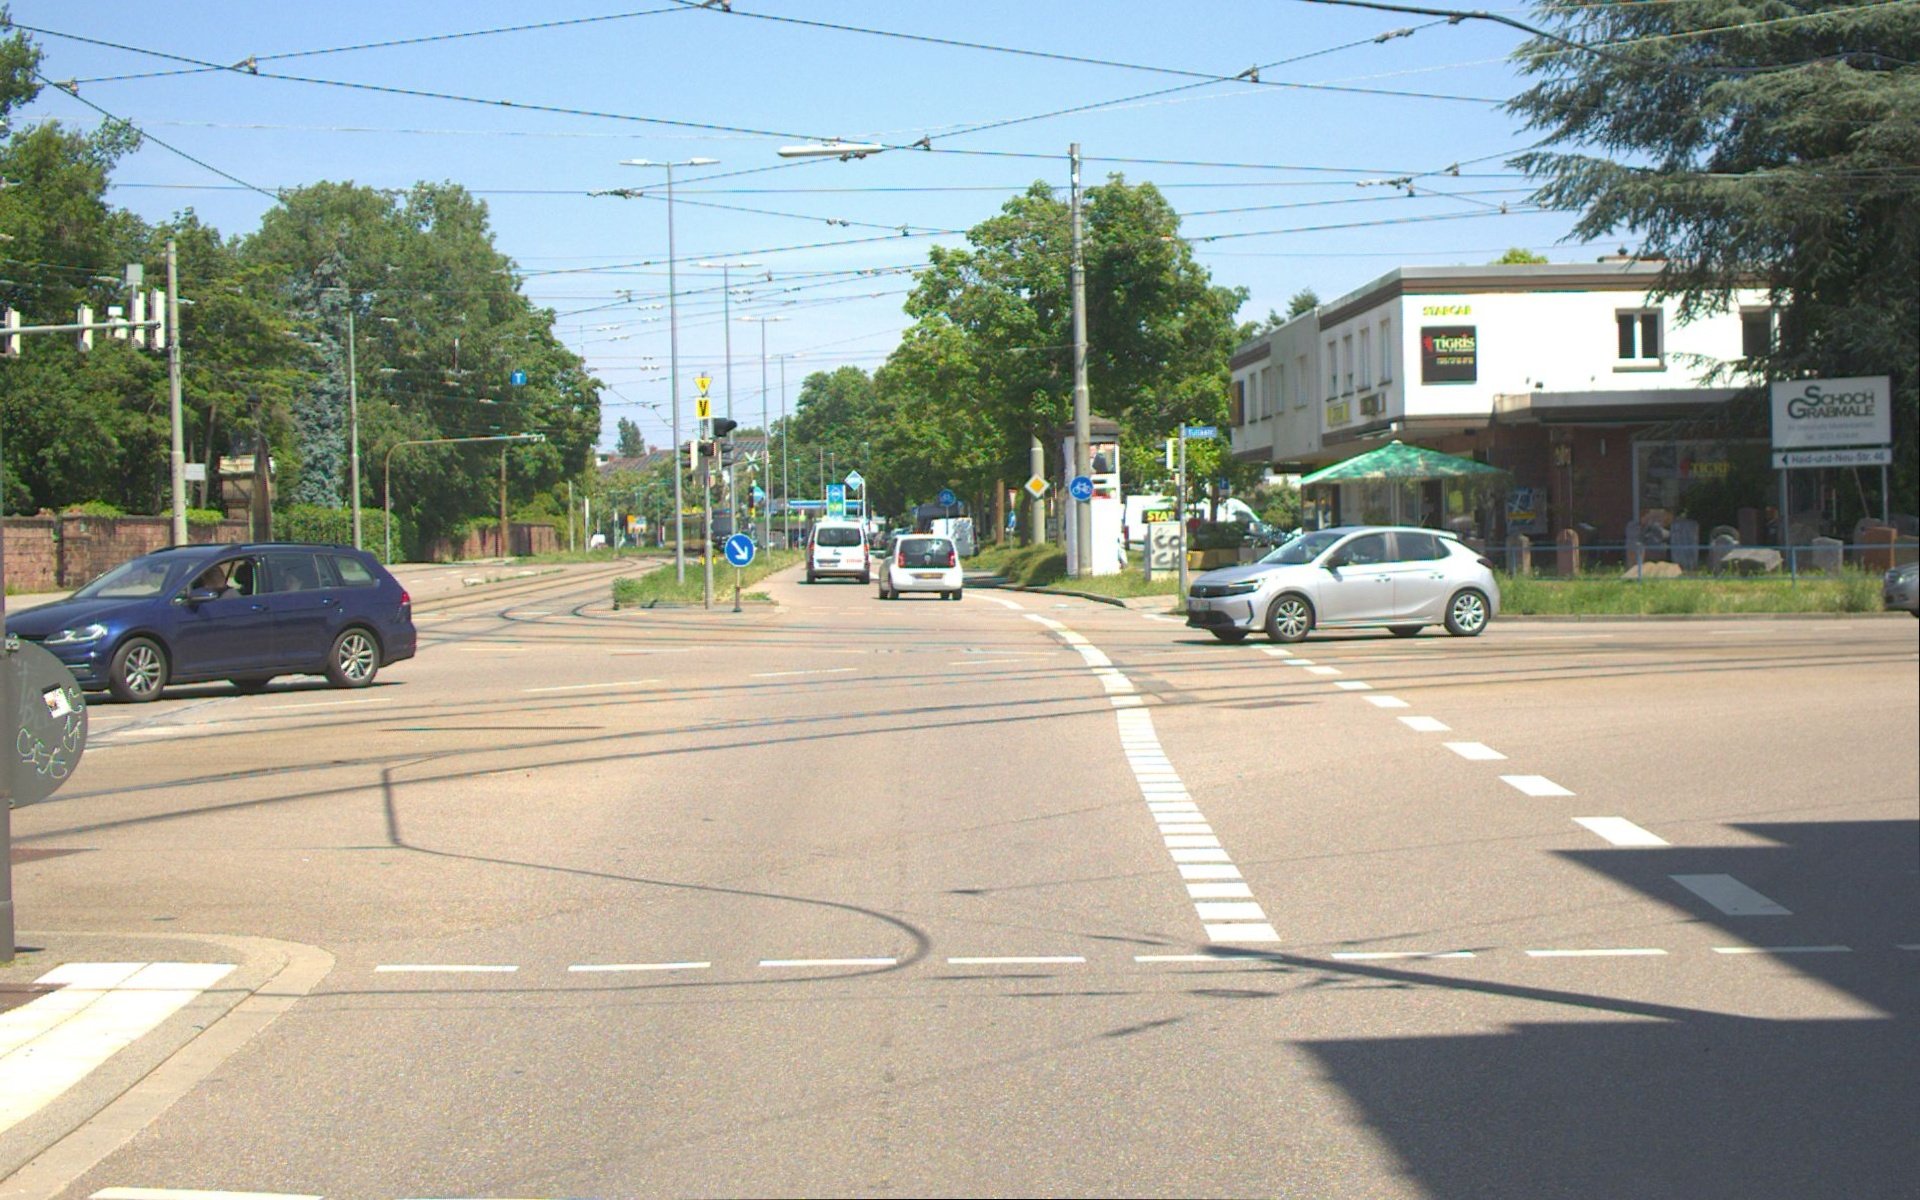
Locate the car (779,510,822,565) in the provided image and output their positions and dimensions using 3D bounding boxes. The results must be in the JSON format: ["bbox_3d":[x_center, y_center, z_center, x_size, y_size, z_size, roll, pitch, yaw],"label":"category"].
[{"bbox_3d":[-6.033,-2.374,130.026,1.419,2.007,3.631,-1,1,-6],"label":"car"}]

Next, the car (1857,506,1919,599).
[{"bbox_3d":[15.369,-0.724,50.791,3.829,1.346,1.642,-1,1,3],"label":"car"}]

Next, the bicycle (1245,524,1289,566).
[{"bbox_3d":[7.563,-1.356,84.496,1.034,1.011,2.636,-1,1,6],"label":"bicycle"}]

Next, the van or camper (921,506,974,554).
[{"bbox_3d":[-0.492,-2.661,130.374,1.922,1.766,4.000,-1,1,-1],"label":"van or camper"}]

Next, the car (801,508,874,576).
[{"bbox_3d":[-3.516,-1.667,97.974,1.993,1.853,4.001,-1,1,-3],"label":"car"}]

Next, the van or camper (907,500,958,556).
[{"bbox_3d":[-1.249,-3.196,152.840,1.993,2.456,4.001,-1,1,-4],"label":"van or camper"}]

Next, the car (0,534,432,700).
[{"bbox_3d":[-7.422,0.114,33.133,1.861,1.437,4.468,0,2,40],"label":"car"}]

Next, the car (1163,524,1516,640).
[{"bbox_3d":[4.789,-0.250,43.436,4.037,1.358,1.824,-1,1,-22],"label":"car"}]

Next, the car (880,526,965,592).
[{"bbox_3d":[-0.862,-0.948,77.342,1.670,1.430,3.475,-1,1,-4],"label":"car"}]

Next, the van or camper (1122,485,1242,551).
[{"bbox_3d":[9.255,-3.424,143.391,4.756,2.662,2.136,-1,1,-3],"label":"van or camper"}]
